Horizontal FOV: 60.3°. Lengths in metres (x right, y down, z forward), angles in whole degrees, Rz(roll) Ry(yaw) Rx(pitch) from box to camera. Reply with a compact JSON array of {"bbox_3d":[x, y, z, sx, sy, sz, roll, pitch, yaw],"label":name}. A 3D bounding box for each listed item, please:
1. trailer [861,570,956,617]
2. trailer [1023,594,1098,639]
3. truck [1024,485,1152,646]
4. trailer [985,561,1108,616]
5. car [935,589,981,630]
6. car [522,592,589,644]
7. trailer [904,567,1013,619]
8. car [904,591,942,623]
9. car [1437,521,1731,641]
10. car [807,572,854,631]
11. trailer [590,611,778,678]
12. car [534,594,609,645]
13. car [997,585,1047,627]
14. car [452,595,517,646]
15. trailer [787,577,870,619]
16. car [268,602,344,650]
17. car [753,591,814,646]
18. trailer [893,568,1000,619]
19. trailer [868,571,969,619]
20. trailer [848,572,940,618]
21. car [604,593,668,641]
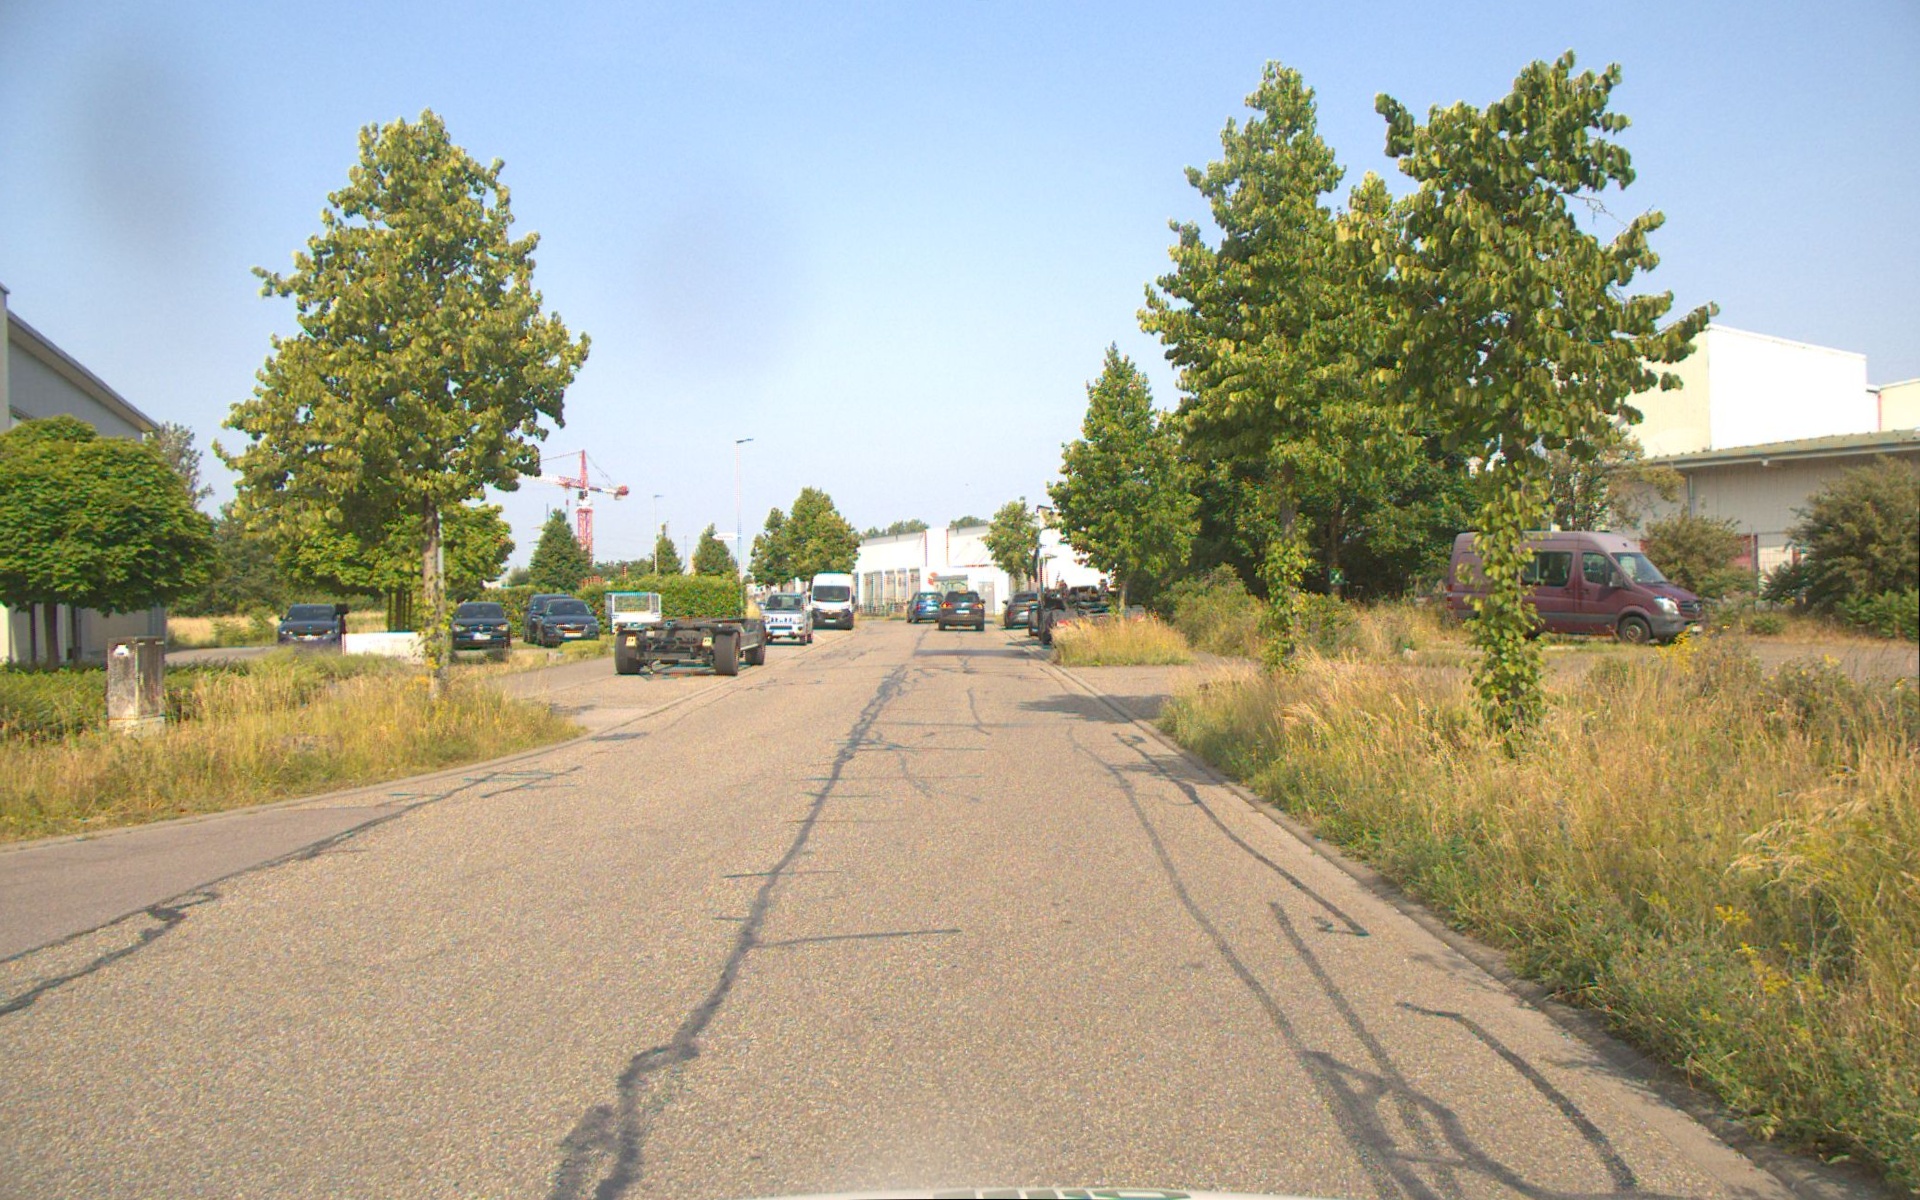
[{"bbox_3d":[-4.521,-0.587,145.810,7.928,3.962,2.755,1,0,-25],"label":"trailer"},{"bbox_3d":[3.217,0.481,54.200,1.899,1.257,7.450,-3,0,0],"label":"trailer"},{"bbox_3d":[3.440,-0.905,46.022,2.638,4.033,6.045,-4,0,-2],"label":"truck"},{"bbox_3d":[6.261,-0.823,119.761,8.617,3.827,2.769,0,-1,-24],"label":"trailer"},{"bbox_3d":[-0.101,0.401,69.947,1.842,1.614,4.113,-1,-1,0],"label":"car"},{"bbox_3d":[-13.999,0.596,57.056,1.958,1.687,4.399,-1,0,-18],"label":"car"},{"bbox_3d":[-0.116,-0.558,133.445,8.425,3.962,2.755,1,0,-25],"label":"trailer"},{"bbox_3d":[-1.962,0.385,87.836,1.929,1.601,4.112,-1,-1,-1],"label":"car"},{"bbox_3d":[14.453,-0.414,38.649,2.552,2.570,5.957,1,0,-41],"label":"car"},{"bbox_3d":[-6.100,0.050,78.450,2.060,2.640,6.499,1,0,-3],"label":"car"},{"bbox_3d":[-5.669,0.856,35.628,2.494,1.093,9.730,0,0,0],"label":"trailer"},{"bbox_3d":[-12.218,0.581,51.888,1.945,1.502,4.399,-1,0,-18],"label":"car"},{"bbox_3d":[2.592,0.264,70.036,1.842,1.601,4.113,-3,-1,0],"label":"car"},{"bbox_3d":[-14.793,0.612,51.309,1.654,1.502,4.325,-1,0,-20],"label":"car"},{"bbox_3d":[-13.155,-0.176,165.890,7.859,3.962,2.755,1,0,-25],"label":"trailer"},{"bbox_3d":[-19.588,0.750,49.677,1.960,1.348,4.325,-1,0,-20],"label":"car"},{"bbox_3d":[-5.686,0.555,53.656,1.564,1.680,3.644,-1,0,-1],"label":"car"},{"bbox_3d":[-1.080,-0.509,136.444,8.425,3.962,2.755,1,0,-25],"label":"trailer"},{"bbox_3d":[-3.560,-0.393,141.928,8.199,3.962,2.755,1,0,-25],"label":"trailer"},{"bbox_3d":[-5.904,-0.407,148.433,7.859,3.962,2.755,1,0,-25],"label":"trailer"},{"bbox_3d":[-11.264,0.589,57.395,1.804,1.599,3.798,1,0,-17],"label":"car"}]
